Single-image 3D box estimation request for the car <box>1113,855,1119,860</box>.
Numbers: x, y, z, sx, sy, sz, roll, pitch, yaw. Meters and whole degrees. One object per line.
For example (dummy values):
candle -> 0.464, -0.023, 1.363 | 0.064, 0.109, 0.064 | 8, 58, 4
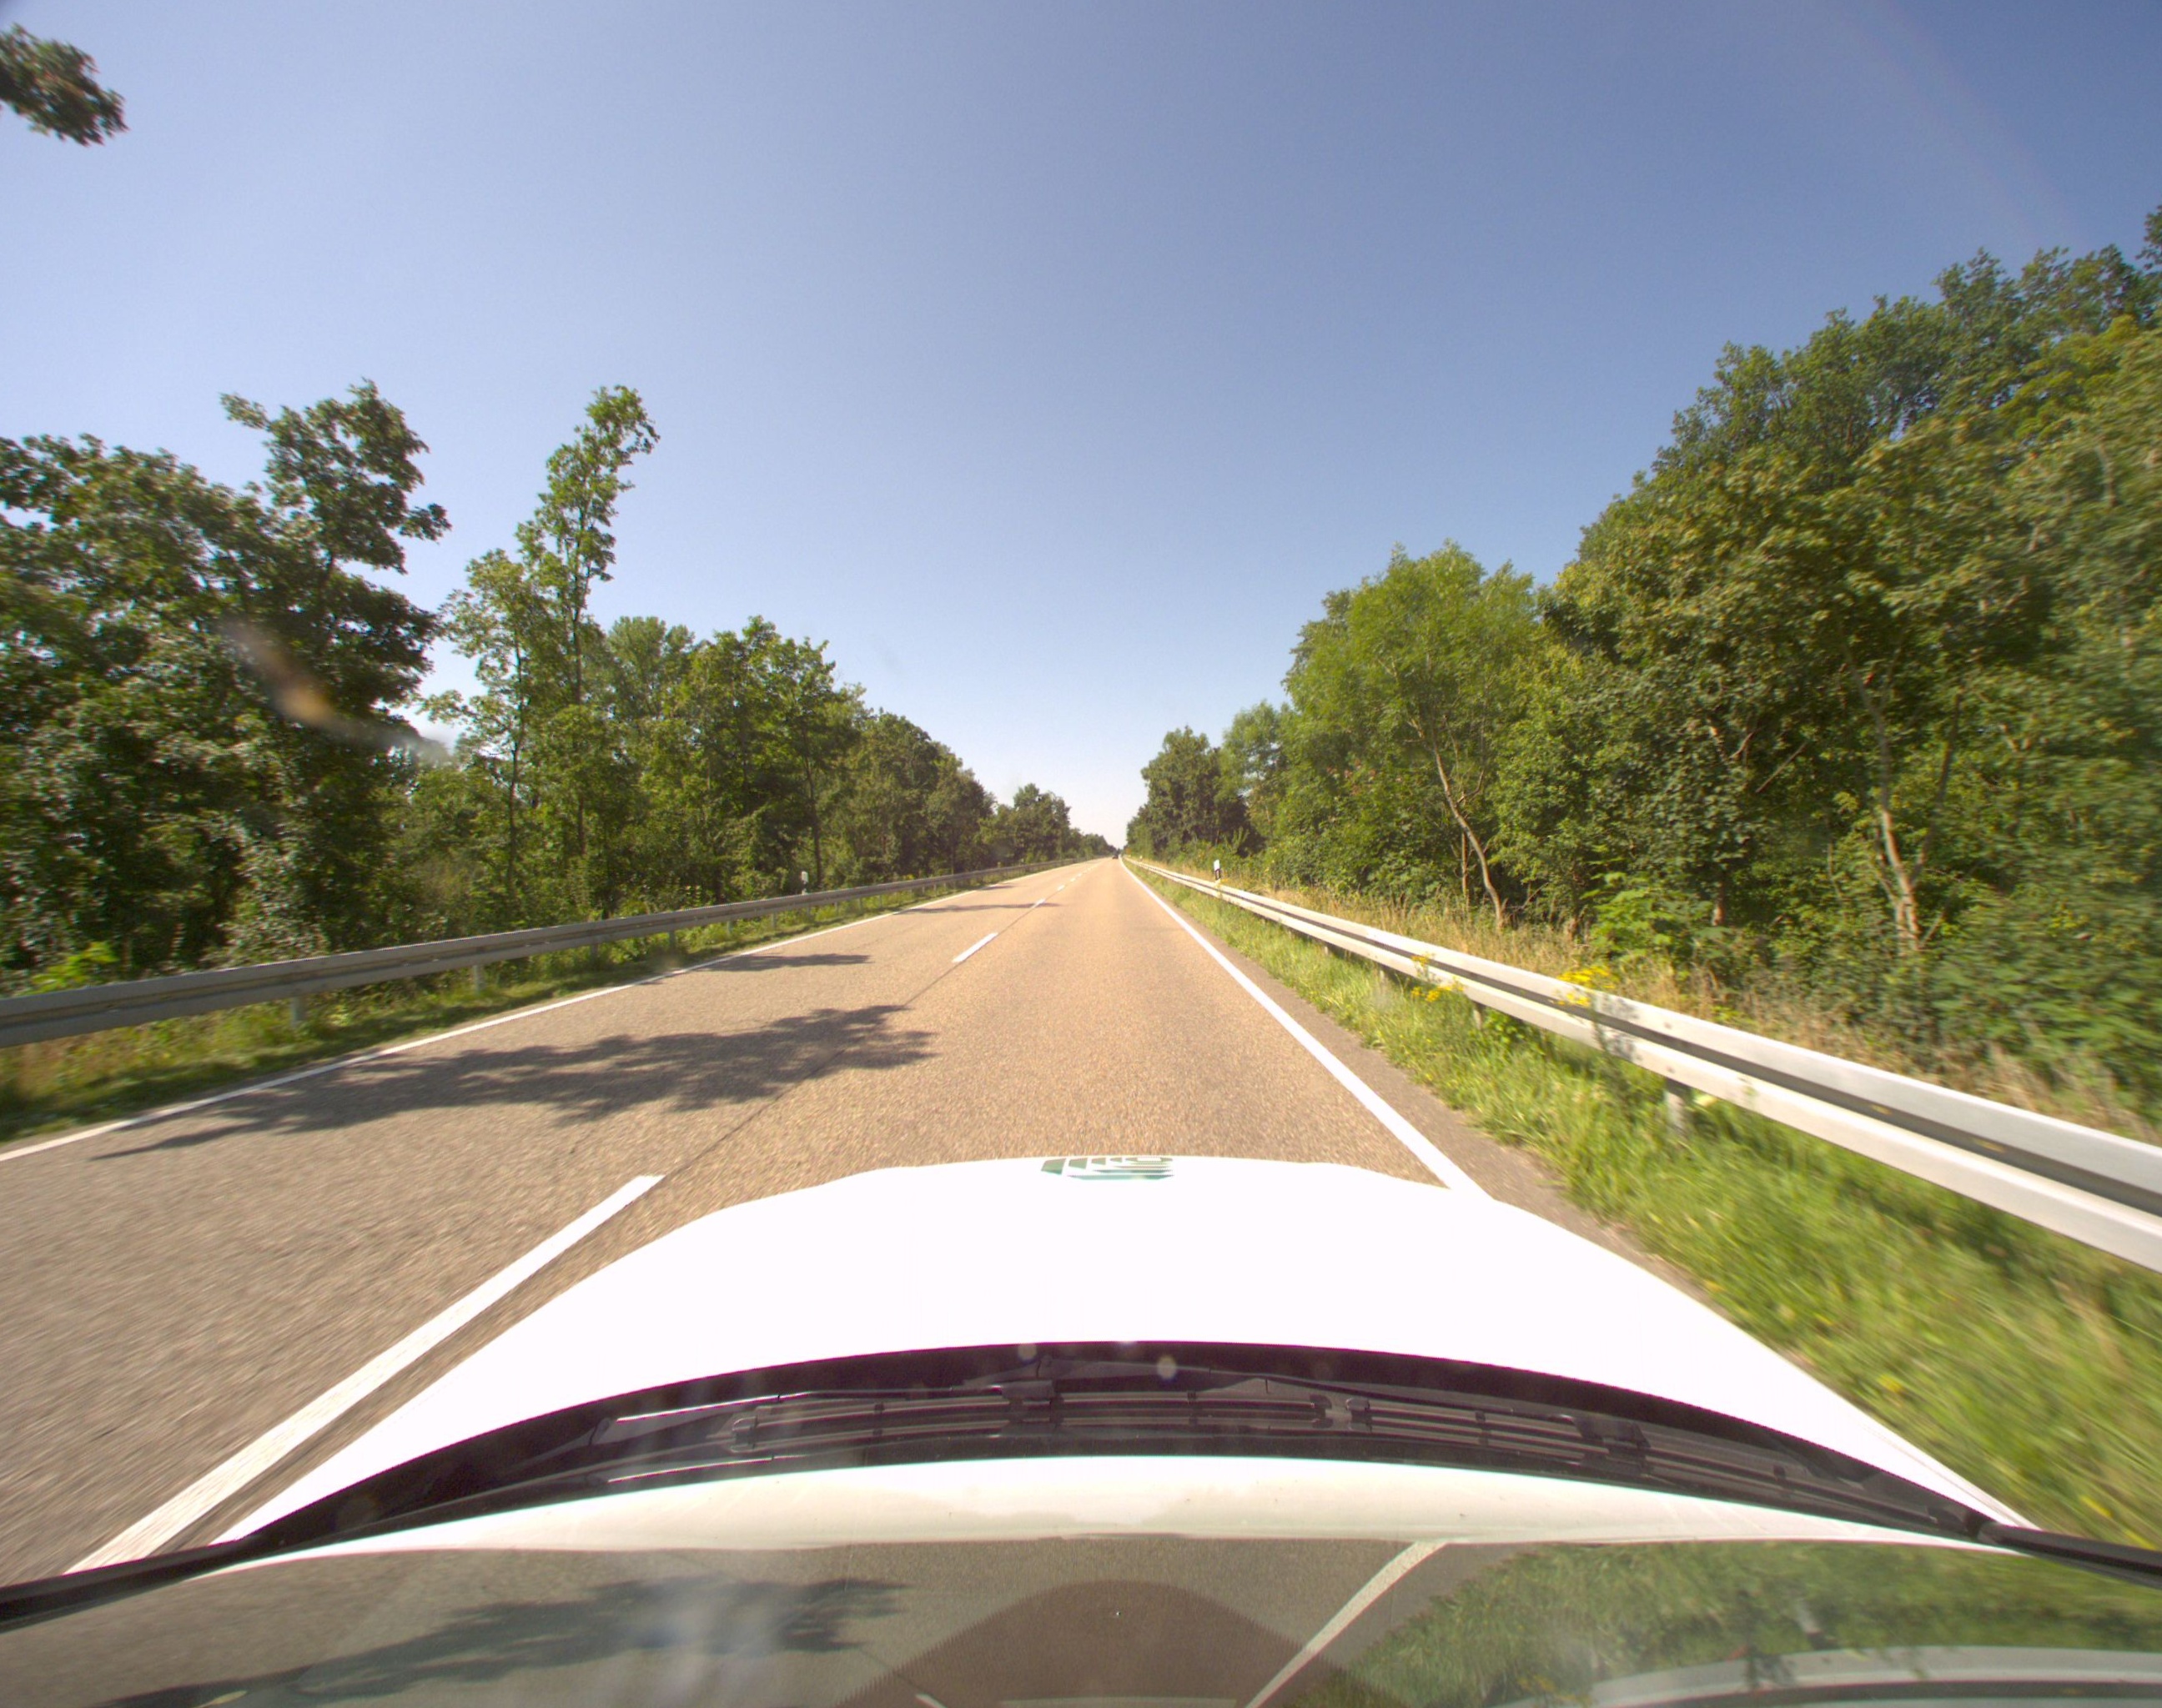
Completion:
car -> 10.145, 0.929, 235.836 | 1.733, 1.470, 3.697 | -1, 0, 4
